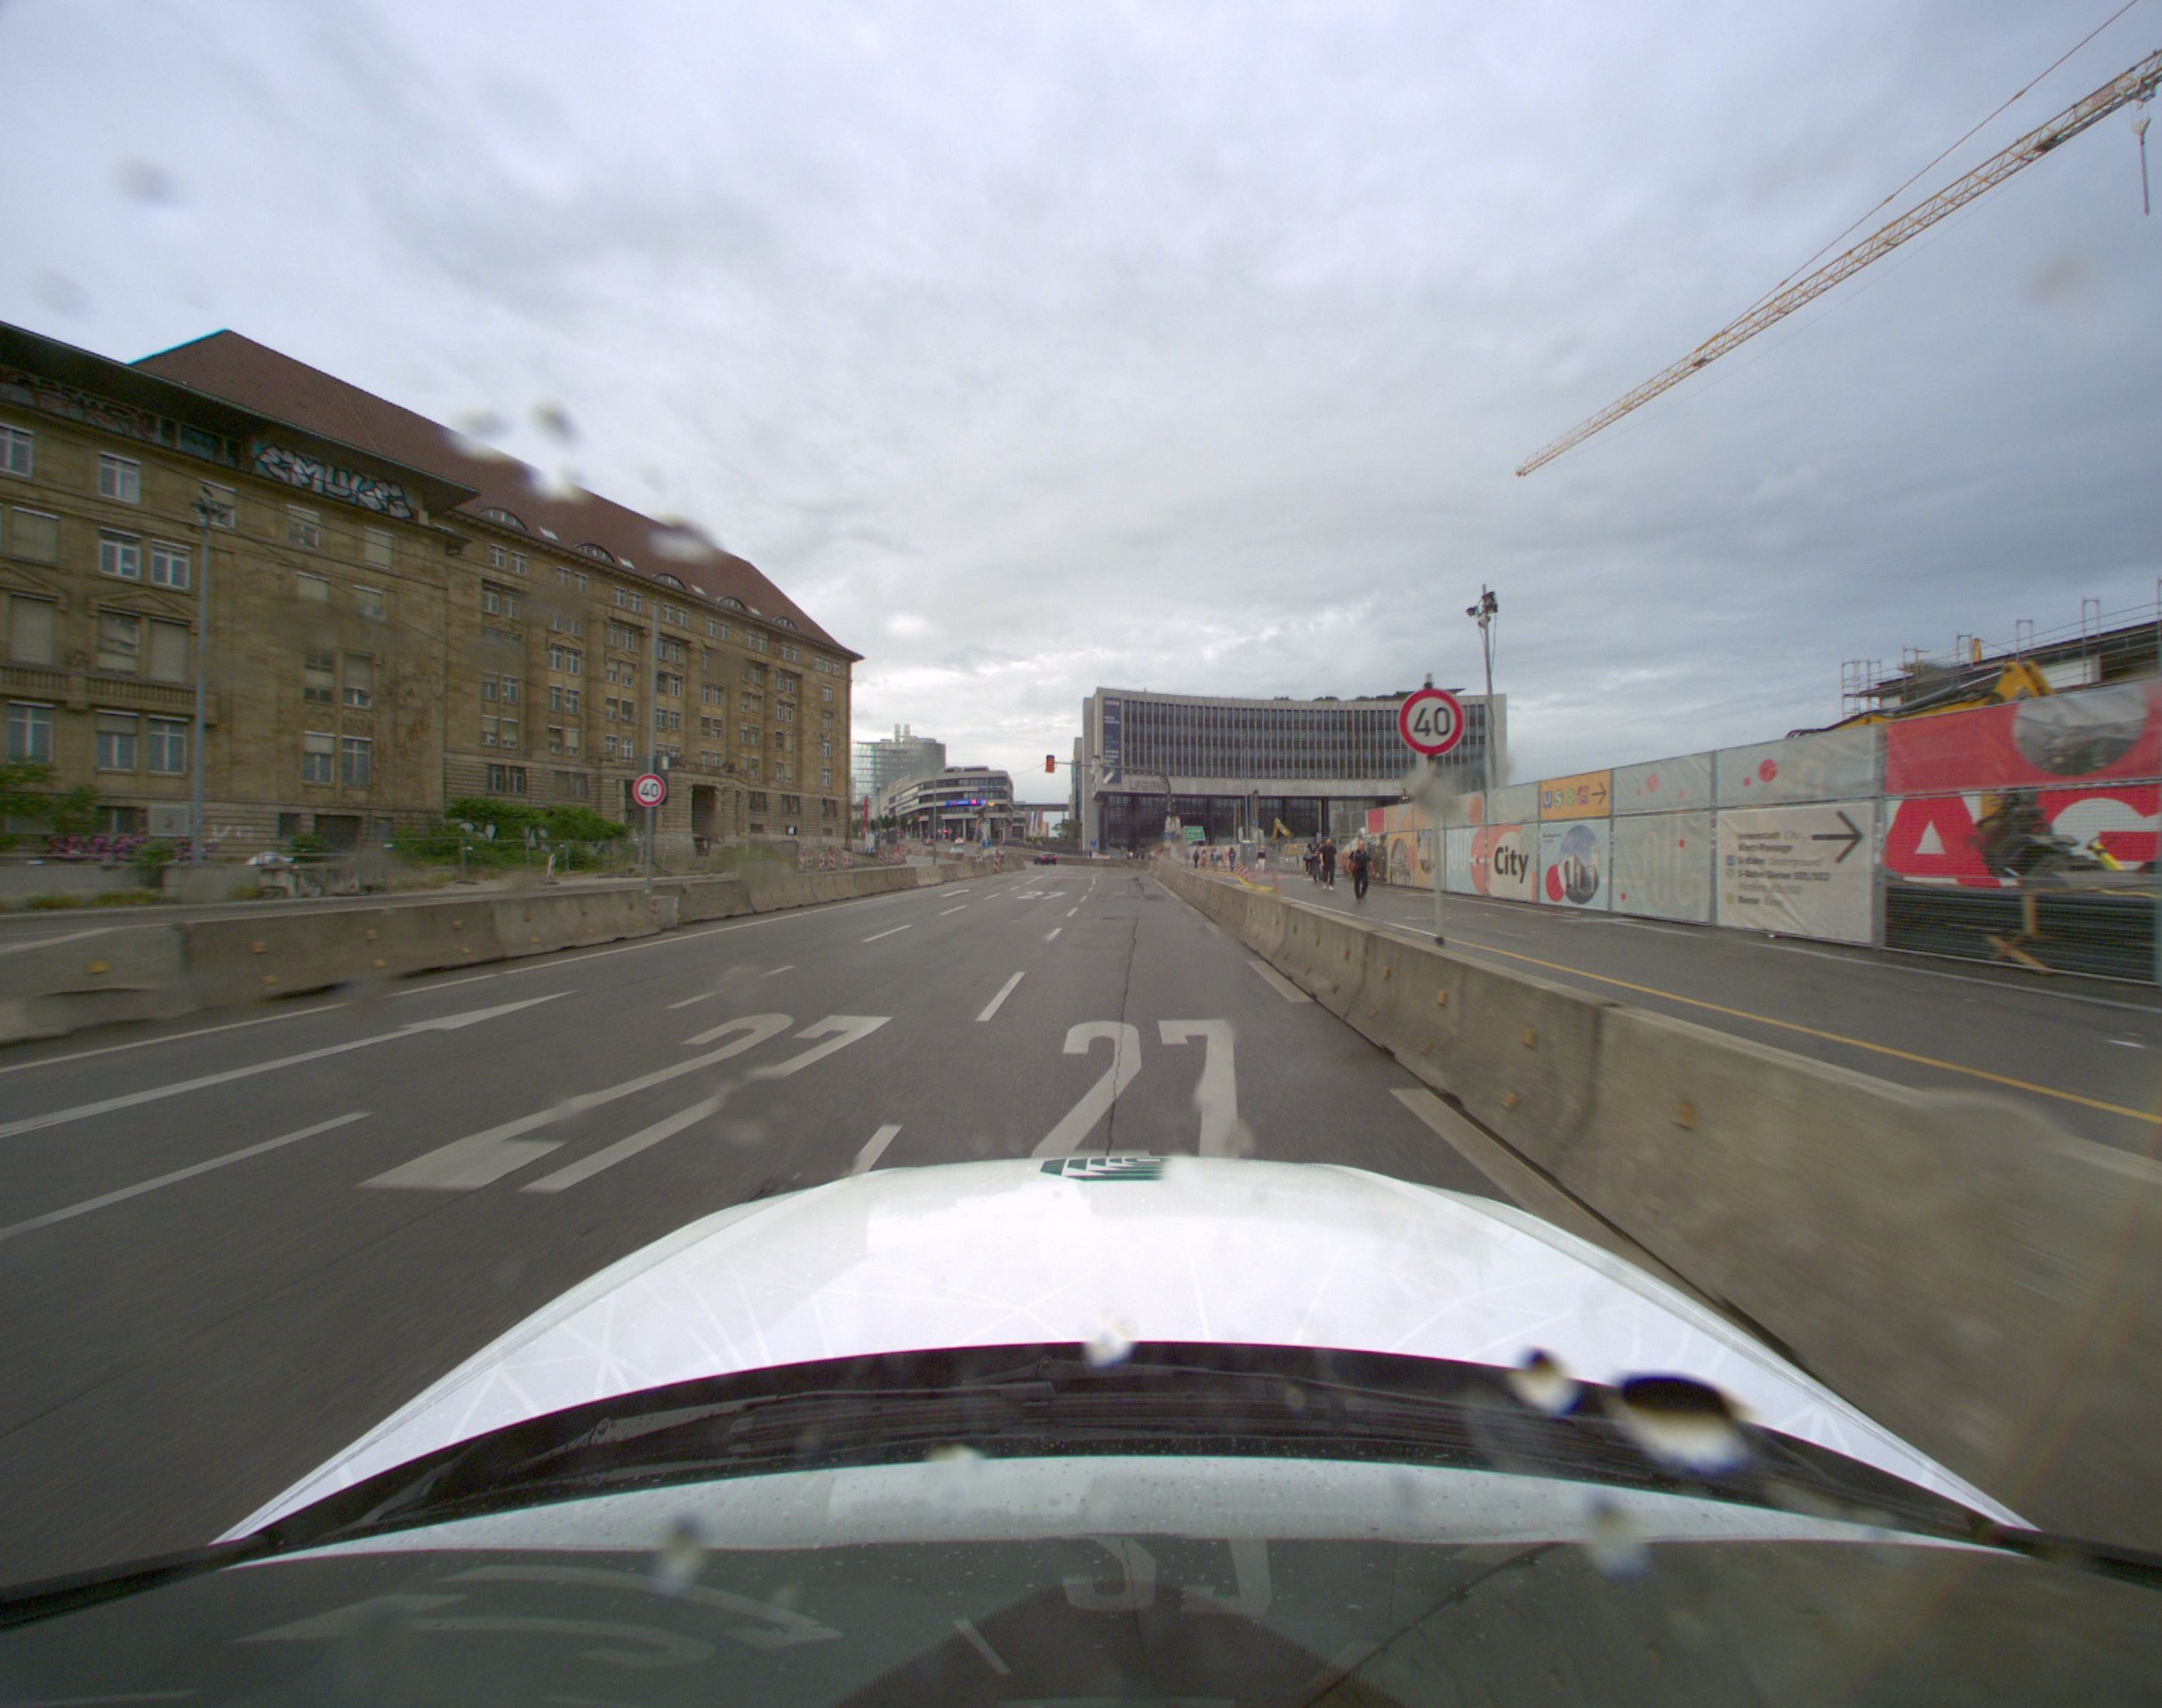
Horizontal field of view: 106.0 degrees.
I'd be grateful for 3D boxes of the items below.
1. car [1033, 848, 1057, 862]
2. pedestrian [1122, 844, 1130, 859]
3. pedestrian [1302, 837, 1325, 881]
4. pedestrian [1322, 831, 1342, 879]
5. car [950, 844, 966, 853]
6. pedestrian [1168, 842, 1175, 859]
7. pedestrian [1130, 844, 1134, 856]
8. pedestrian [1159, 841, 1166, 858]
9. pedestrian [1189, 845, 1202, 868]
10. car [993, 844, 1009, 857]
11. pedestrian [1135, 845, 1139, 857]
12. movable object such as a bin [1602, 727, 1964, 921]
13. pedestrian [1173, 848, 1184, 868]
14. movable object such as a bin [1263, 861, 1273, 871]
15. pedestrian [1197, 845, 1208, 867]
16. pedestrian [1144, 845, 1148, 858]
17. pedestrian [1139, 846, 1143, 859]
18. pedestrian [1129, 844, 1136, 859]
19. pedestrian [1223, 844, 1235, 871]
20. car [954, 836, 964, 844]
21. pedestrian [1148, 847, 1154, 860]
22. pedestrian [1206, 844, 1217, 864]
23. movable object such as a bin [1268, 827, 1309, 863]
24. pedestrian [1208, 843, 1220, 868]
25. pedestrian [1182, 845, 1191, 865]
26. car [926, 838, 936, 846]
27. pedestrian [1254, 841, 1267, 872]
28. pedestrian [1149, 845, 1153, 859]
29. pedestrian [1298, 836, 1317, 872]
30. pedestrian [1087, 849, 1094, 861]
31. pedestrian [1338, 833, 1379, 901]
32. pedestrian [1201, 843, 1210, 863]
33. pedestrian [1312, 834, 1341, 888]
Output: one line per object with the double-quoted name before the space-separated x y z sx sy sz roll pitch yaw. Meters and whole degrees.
"car" -4.252 0.161 96.735 1.681 1.508 3.717 0 -2 -22
"pedestrian" 5.135 -0.288 92.277 0.751 1.642 0.820 0 1 -11
"pedestrian" 9.927 0.208 34.779 0.793 1.834 0.627 0 0 3
"pedestrian" 10.751 0.043 34.917 0.676 2.013 0.687 -1 1 3
"car" -19.961 -0.920 132.192 1.749 1.506 3.724 0 0 -24
"pedestrian" 10.675 -0.405 95.744 0.780 2.013 0.865 0 1 8
"pedestrian" 7.112 -0.588 113.285 0.447 1.704 0.646 0 1 -3
"pedestrian" 9.596 -0.516 95.863 0.780 2.013 0.865 0 1 8
"pedestrian" 9.566 0.206 68.088 0.867 1.862 0.948 0 0 -2
"car" -11.861 -0.549 120.574 1.743 1.875 3.755 -1 0 -18
"pedestrian" 7.773 -0.423 113.412 0.452 1.704 0.646 0 1 -3
"movable object such as a bin" 14.350 -0.574 17.204 3.915 3.492 4.356 -1 0 1
"pedestrian" 9.106 0.380 75.859 0.817 1.827 1.111 -1 0 -1
"movable object such as a bin" 11.365 0.723 49.509 0.432 0.624 0.534 0 0 -2
"pedestrian" 10.406 0.178 69.741 0.777 1.862 1.057 0 0 -2
"pedestrian" 8.542 -0.312 107.630 0.445 1.704 0.648 0 1 10
"pedestrian" 7.999 -0.254 108.295 0.446 1.704 0.647 0 1 2
"pedestrian" 5.831 -0.293 92.410 0.659 1.642 0.820 0 1 -11
"pedestrian" 10.508 0.236 57.744 0.688 1.862 0.811 0 0 -2
"car" -27.662 -3.166 184.783 1.995 1.804 4.248 0 1 -12
"pedestrian" 9.110 -0.057 106.070 0.515 1.704 0.568 -1 1 -36
"pedestrian" 12.082 -0.009 75.401 0.777 1.861 0.811 -1 0 -2
"movable object such as a bin" 24.005 -1.005 94.497 3.099 4.030 3.670 0 0 -22
"pedestrian" 10.049 0.119 61.504 0.777 1.862 0.948 0 0 -2
"pedestrian" 9.967 0.066 76.927 0.777 1.862 0.811 0 0 -2
"car" -33.382 -2.672 180.747 1.995 1.804 4.248 0 1 -12
"pedestrian" 10.837 0.122 49.209 0.663 1.862 0.682 0 0 -2
"pedestrian" 8.985 -0.252 104.348 0.527 1.818 0.537 0 0 1
"pedestrian" 11.834 0.006 42.504 0.785 1.862 0.682 0 0 -3
"pedestrian" 1.354 0.172 118.491 0.759 1.790 1.050 0 0 -20
"pedestrian" 7.638 0.349 22.448 0.921 1.834 0.687 0 0 3
"pedestrian" 11.148 -0.095 72.905 0.730 1.854 0.831 0 0 0
"pedestrian" 8.710 0.249 28.911 0.793 1.877 0.821 0 0 3
